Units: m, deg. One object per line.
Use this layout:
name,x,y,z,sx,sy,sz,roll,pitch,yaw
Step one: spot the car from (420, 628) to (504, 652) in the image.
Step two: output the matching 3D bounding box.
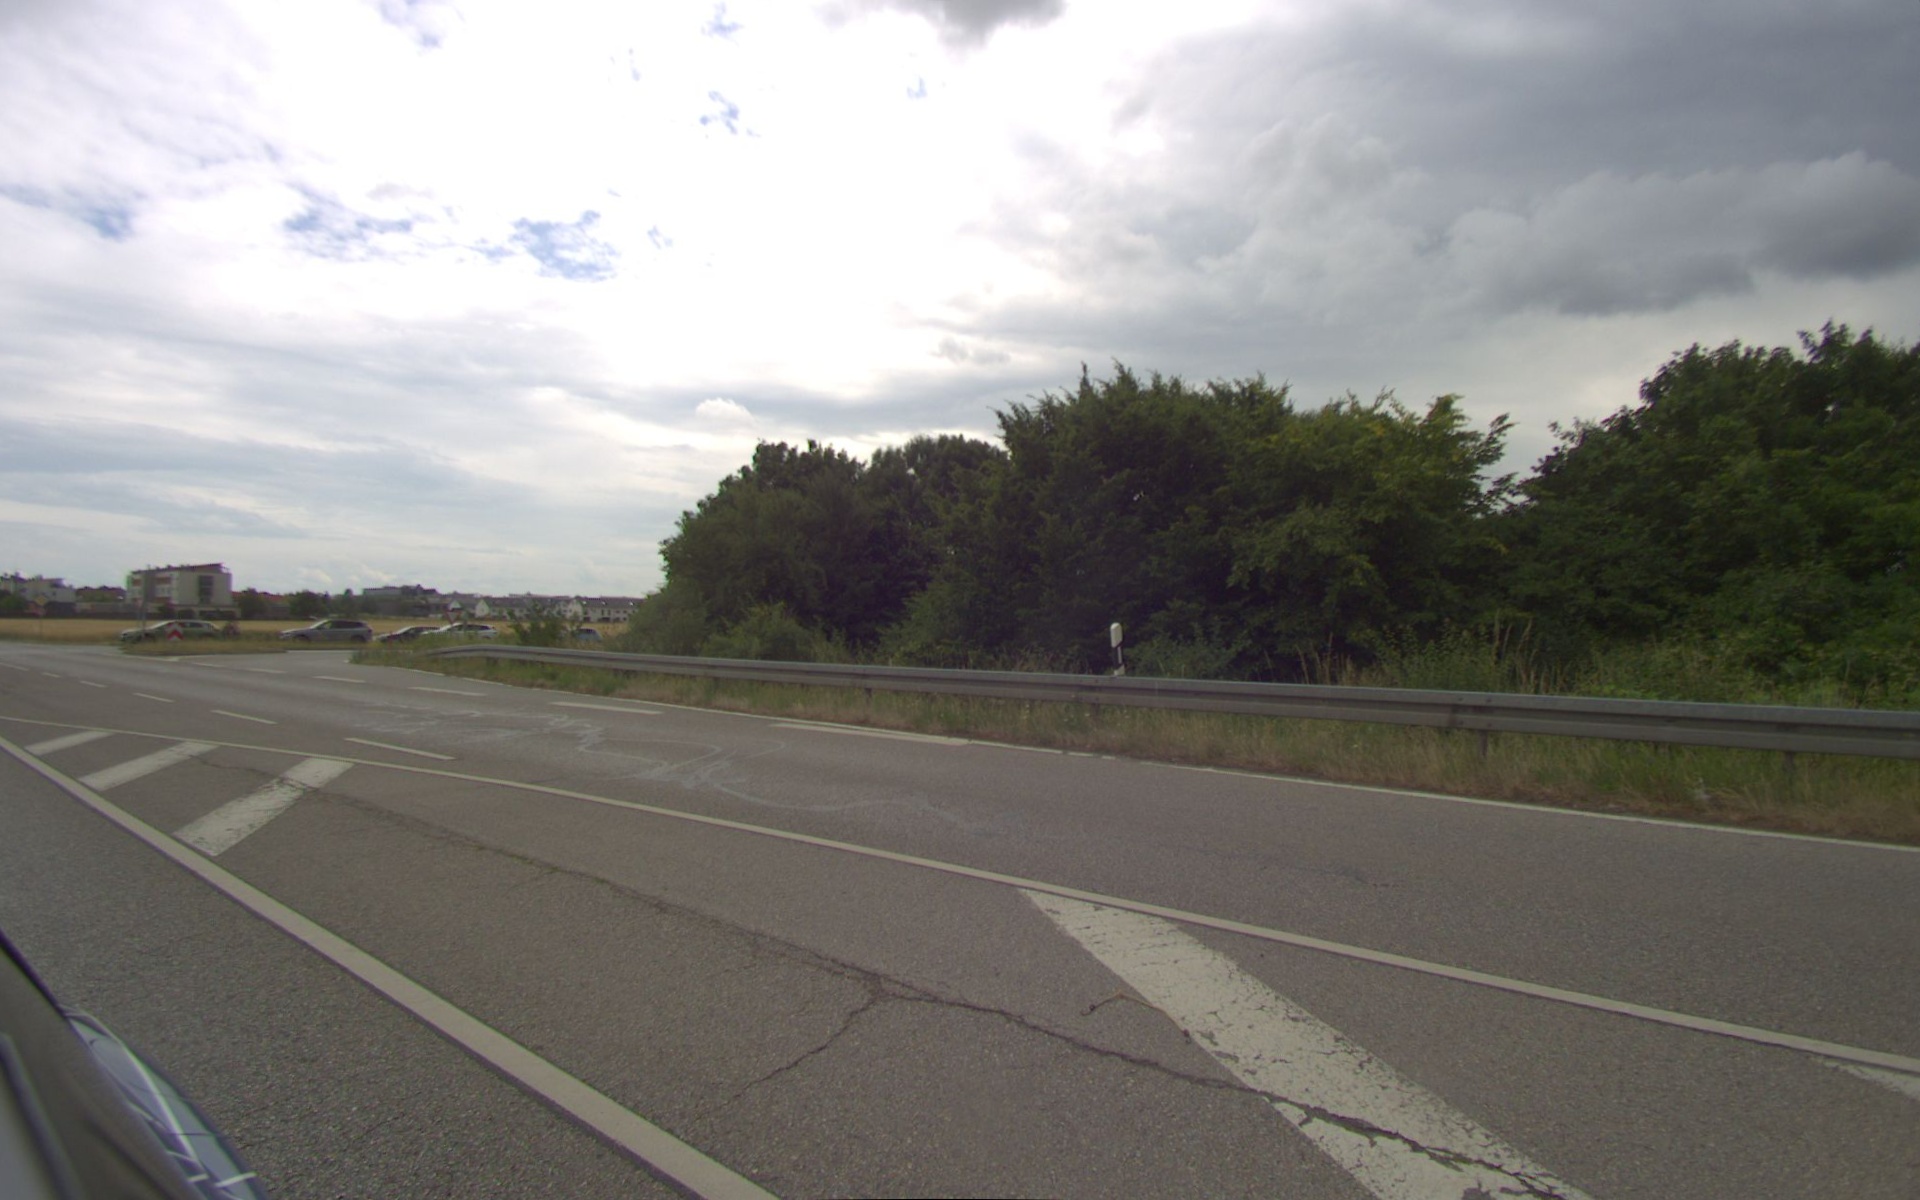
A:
car,-31.559,2.522,64.186,4.437,1.493,1.913,2,-2,-43

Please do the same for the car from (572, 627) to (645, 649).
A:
car,-24.755,2.637,71.370,4.437,1.493,1.913,2,-2,-43

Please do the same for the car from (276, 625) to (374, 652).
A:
car,-37.273,2.243,59.477,4.568,1.528,1.913,2,-2,-43

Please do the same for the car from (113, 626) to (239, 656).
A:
car,-42.210,2.174,54.550,5.221,1.533,1.913,2,-2,-43

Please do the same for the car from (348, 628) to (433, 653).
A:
car,-35.982,2.540,63.950,4.345,1.493,1.913,2,-2,-43
